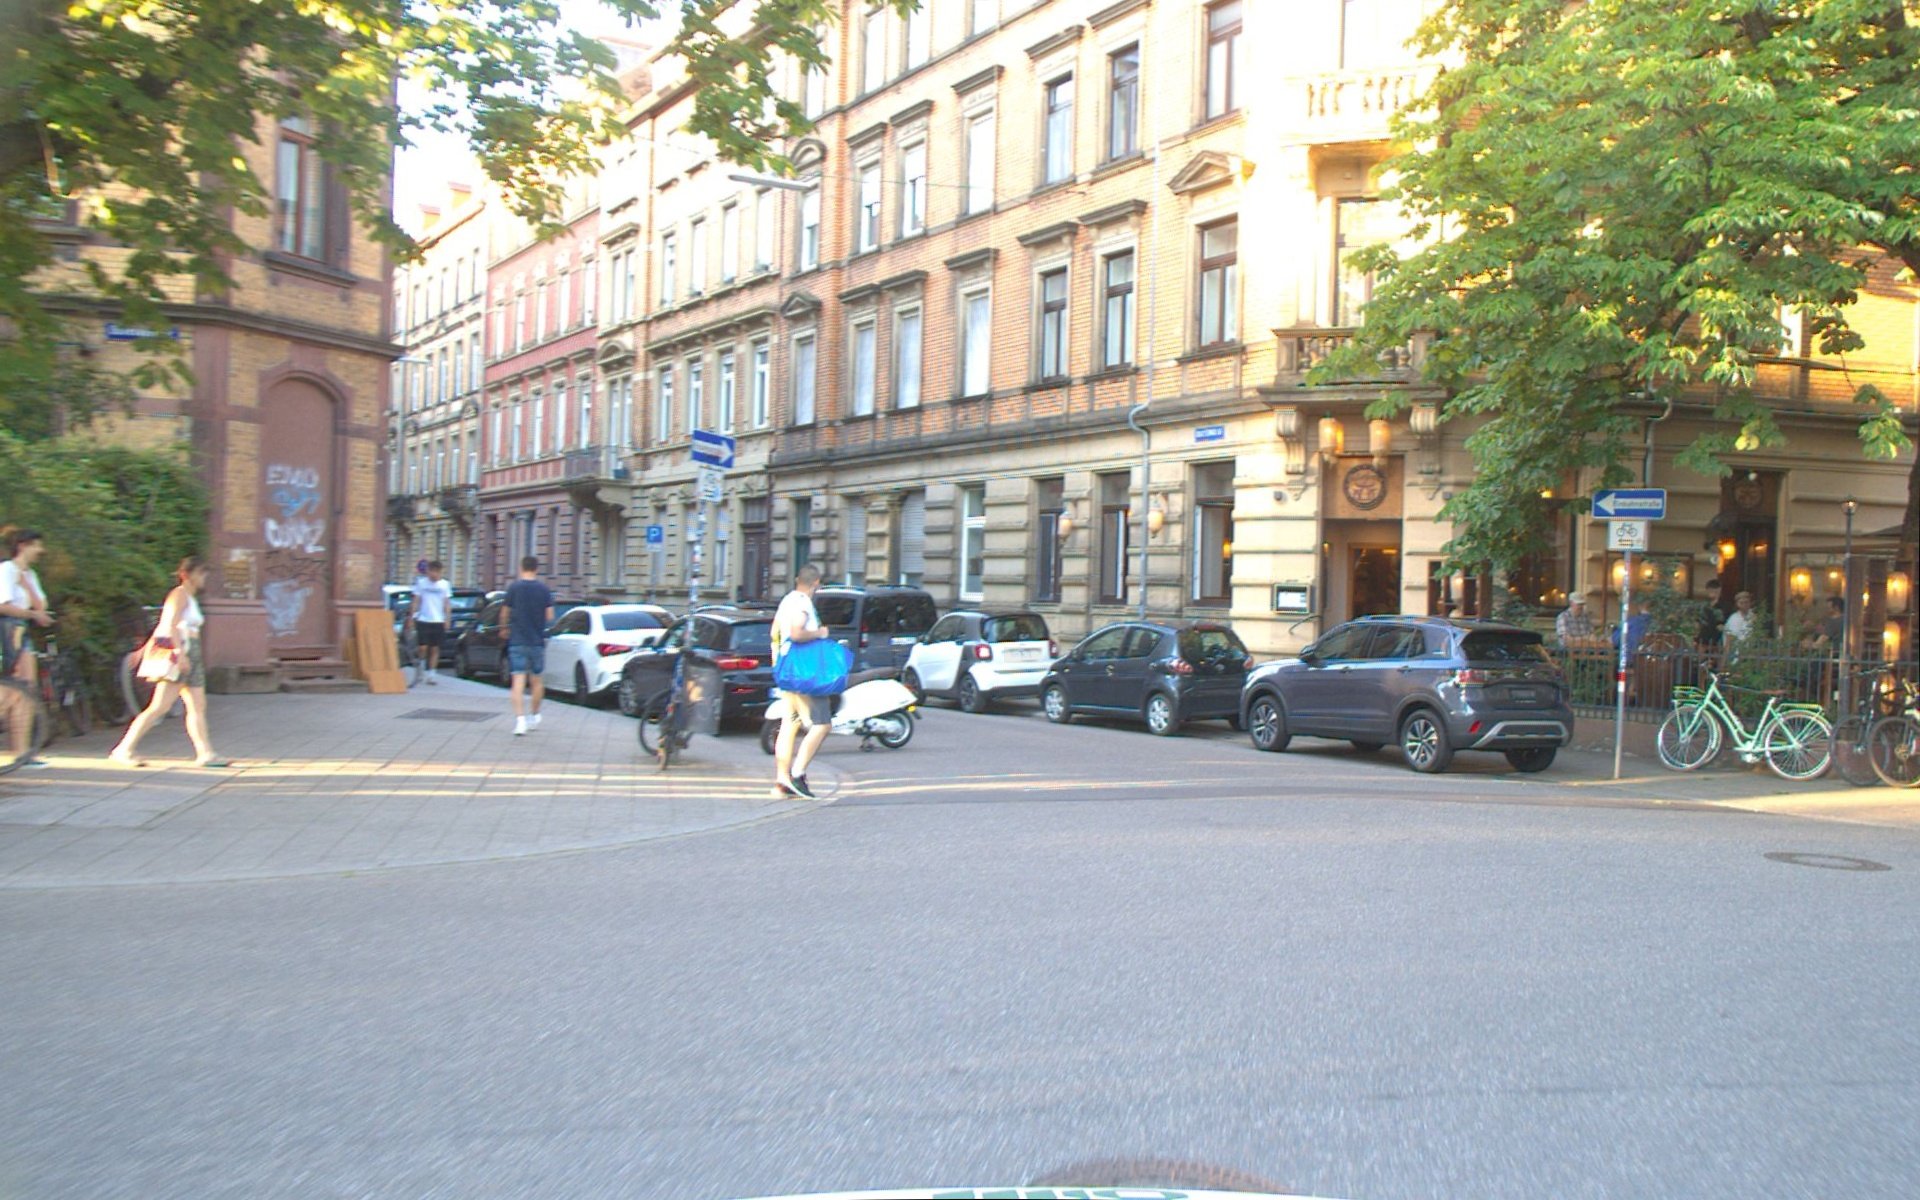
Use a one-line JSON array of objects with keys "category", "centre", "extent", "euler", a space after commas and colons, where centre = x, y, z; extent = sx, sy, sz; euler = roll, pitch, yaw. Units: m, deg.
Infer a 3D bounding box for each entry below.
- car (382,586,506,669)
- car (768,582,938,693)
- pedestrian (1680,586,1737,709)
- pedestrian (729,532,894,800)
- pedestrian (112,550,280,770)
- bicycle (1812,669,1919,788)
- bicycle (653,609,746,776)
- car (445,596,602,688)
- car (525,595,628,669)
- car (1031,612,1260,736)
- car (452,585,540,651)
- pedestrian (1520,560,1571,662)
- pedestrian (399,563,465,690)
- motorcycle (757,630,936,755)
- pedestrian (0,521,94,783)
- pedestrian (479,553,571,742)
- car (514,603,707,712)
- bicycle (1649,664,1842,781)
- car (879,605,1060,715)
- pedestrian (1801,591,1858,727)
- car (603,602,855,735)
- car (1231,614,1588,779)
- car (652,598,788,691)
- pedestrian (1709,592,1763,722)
[{"category": "car", "centre": [-10.681, 0.531, 34.089], "extent": [1.558, 1.599, 4.077], "euler": [1, 0, -30]}, {"category": "car", "centre": [-1.965, 0.636, 29.634], "extent": [1.666, 1.855, 3.452], "euler": [1, 0, -31]}, {"category": "pedestrian", "centre": [9.605, 0.600, 21.223], "extent": [0.460, 1.546, 0.516], "euler": [1, -1, -42]}, {"category": "pedestrian", "centre": [-1.197, 0.521, 13.269], "extent": [0.996, 2.049, 0.860], "euler": [2, -1, -31]}, {"category": "pedestrian", "centre": [-6.038, 0.471, 13.081], "extent": [1.042, 1.659, 0.678], "euler": [3, -2, -37]}, {"category": "bicycle", "centre": [9.499, 1.279, 16.668], "extent": [1.707, 1.164, 0.392], "euler": [0, -2, -8]}, {"category": "bicycle", "centre": [-2.392, 0.813, 15.330], "extent": [0.506, 1.416, 1.800], "euler": [3, 0, 0]}, {"category": "car", "centre": [-7.755, 0.685, 29.128], "extent": [1.558, 1.484, 4.379], "euler": [1, 0, -30]}, {"category": "car", "centre": [-10.115, 0.809, 43.461], "extent": [1.666, 1.855, 3.452], "euler": [1, 0, -31]}, {"category": "car", "centre": [2.485, 0.964, 22.788], "extent": [1.447, 1.484, 3.300], "euler": [1, 1, -30]}, {"category": "car", "centre": [-13.746, 0.522, 48.864], "extent": [1.666, 1.855, 3.452], "euler": [1, 0, -31]}, {"category": "pedestrian", "centre": [8.414, 0.160, 23.775], "extent": [0.456, 1.437, 0.520], "euler": [1, -1, -25]}, {"category": "pedestrian", "centre": [-8.160, 0.396, 25.544], "extent": [0.767, 1.855, 0.919], "euler": [5, 0, -22]}, {"category": "motorcycle", "centre": [-1.199, 0.965, 17.423], "extent": [1.823, 1.279, 0.471], "euler": [1, -1, -14]}, {"category": "pedestrian", "centre": [-6.997, 0.370, 12.117], "extent": [0.999, 1.867, 0.678], "euler": [3, -2, -37]}, {"category": "pedestrian", "centre": [-4.488, 0.474, 17.116], "extent": [0.673, 1.855, 0.792], "euler": [5, 0, -9]}, {"category": "car", "centre": [-5.375, 0.800, 25.024], "extent": [1.558, 1.484, 4.379], "euler": [1, 0, -30]}, {"category": "bicycle", "centre": [8.238, 1.265, 17.398], "extent": [1.795, 1.117, 0.390], "euler": [0, -1, 41]}, {"category": "car", "centre": [0.094, 0.902, 26.321], "extent": [1.446, 1.622, 3.301], "euler": [1, 0, -29]}, {"category": "pedestrian", "centre": [9.607, 0.642, 18.269], "extent": [0.460, 1.476, 0.423], "euler": [1, -1, -42]}, {"category": "car", "centre": [-2.999, 0.784, 20.800], "extent": [1.763, 1.484, 3.977], "euler": [1, 0, -31]}, {"category": "car", "centre": [4.839, 0.971, 18.293], "extent": [1.610, 1.572, 3.820], "euler": [1, 0, -30]}, {"category": "car", "centre": [-5.111, 0.890, 34.935], "extent": [1.666, 1.855, 3.452], "euler": [1, 0, -31]}, {"category": "pedestrian", "centre": [8.964, 0.652, 19.111], "extent": [0.460, 1.476, 0.423], "euler": [1, -1, -42]}]
